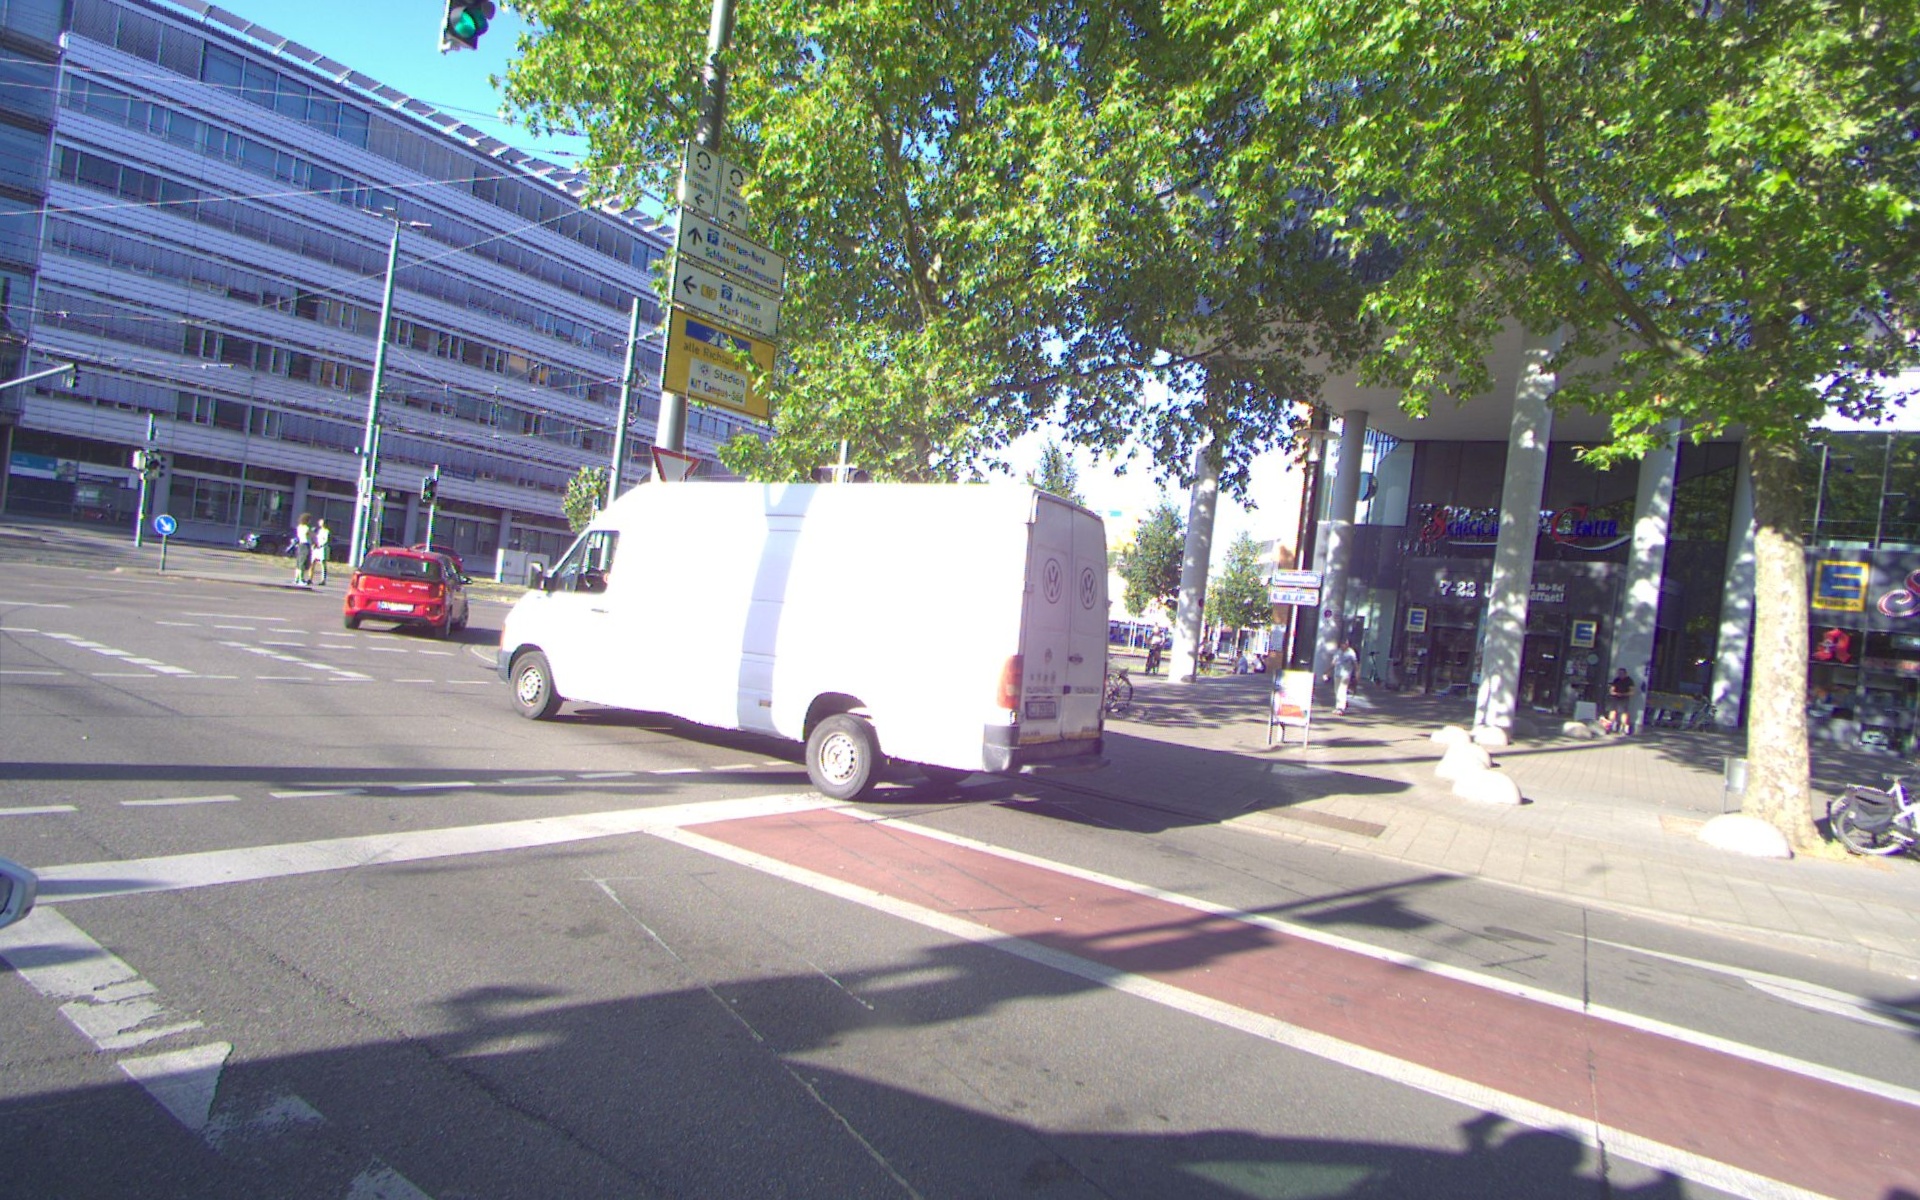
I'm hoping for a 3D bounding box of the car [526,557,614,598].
[{"bbox_3d":[-21.112,-1.219,54.616,1.852,1.614,3.991,6,-2,35],"label":"car"}]

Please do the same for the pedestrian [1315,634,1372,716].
[{"bbox_3d":[9.580,1.865,25.144,0.800,1.913,0.871,5,1,-16],"label":"pedestrian"}]

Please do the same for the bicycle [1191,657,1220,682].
[{"bbox_3d":[10.713,3.013,43.865,0.735,0.964,2.098,6,1,25],"label":"bicycle"}]

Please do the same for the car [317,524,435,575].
[{"bbox_3d":[-26.955,-2.322,46.545,1.854,1.744,4.256,7,0,34],"label":"car"}]

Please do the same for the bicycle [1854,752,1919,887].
[{"bbox_3d":[10.171,2.243,9.448,2.514,1.234,0.756,5,-2,37],"label":"bicycle"}]

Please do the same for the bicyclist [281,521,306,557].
[{"bbox_3d":[-30.406,-2.766,45.923,0.604,1.521,0.663,7,1,37],"label":"bicyclist"}]

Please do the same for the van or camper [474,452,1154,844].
[{"bbox_3d":[-1.662,0.180,9.674,6.388,2.647,2.003,7,0,30],"label":"van or camper"}]

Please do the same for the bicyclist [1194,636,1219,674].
[{"bbox_3d":[10.787,2.427,43.953,0.794,1.585,1.029,4,-1,24],"label":"bicyclist"}]

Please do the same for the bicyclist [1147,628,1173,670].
[{"bbox_3d":[7.503,1.843,37.821,0.583,1.504,0.748,6,2,35],"label":"bicyclist"}]

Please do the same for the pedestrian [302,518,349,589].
[{"bbox_3d":[-16.948,-1.239,26.876,0.676,1.781,0.738,7,1,41],"label":"pedestrian"}]

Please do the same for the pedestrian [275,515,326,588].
[{"bbox_3d":[-16.985,-1.238,25.935,0.667,1.781,0.741,7,1,-2],"label":"pedestrian"}]

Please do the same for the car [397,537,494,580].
[{"bbox_3d":[-26.460,-2.131,51.832,1.769,1.570,3.990,7,-2,36],"label":"car"}]

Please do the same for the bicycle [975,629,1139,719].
[{"bbox_3d":[1.781,1.362,18.790,2.896,1.250,0.698,6,-4,31],"label":"bicycle"}]

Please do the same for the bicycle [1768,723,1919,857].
[{"bbox_3d":[11.424,2.372,11.080,3.757,1.235,0.727,10,1,38],"label":"bicycle"}]

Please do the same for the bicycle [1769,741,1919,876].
[{"bbox_3d":[10.874,2.367,10.436,3.759,1.234,0.756,5,-2,38],"label":"bicycle"}]

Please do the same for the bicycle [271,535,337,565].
[{"bbox_3d":[-30.177,-2.290,46.339,0.627,1.035,2.410,7,0,36],"label":"bicycle"}]

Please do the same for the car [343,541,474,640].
[{"bbox_3d":[-10.066,-0.181,18.595,1.475,1.476,3.581,8,-1,-21],"label":"car"}]

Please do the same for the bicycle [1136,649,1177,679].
[{"bbox_3d":[7.392,2.374,37.740,0.592,1.028,2.187,7,2,35],"label":"bicycle"}]

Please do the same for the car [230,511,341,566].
[{"bbox_3d":[-33.604,-3.028,50.218,1.967,2.037,3.995,6,-2,32],"label":"car"}]
